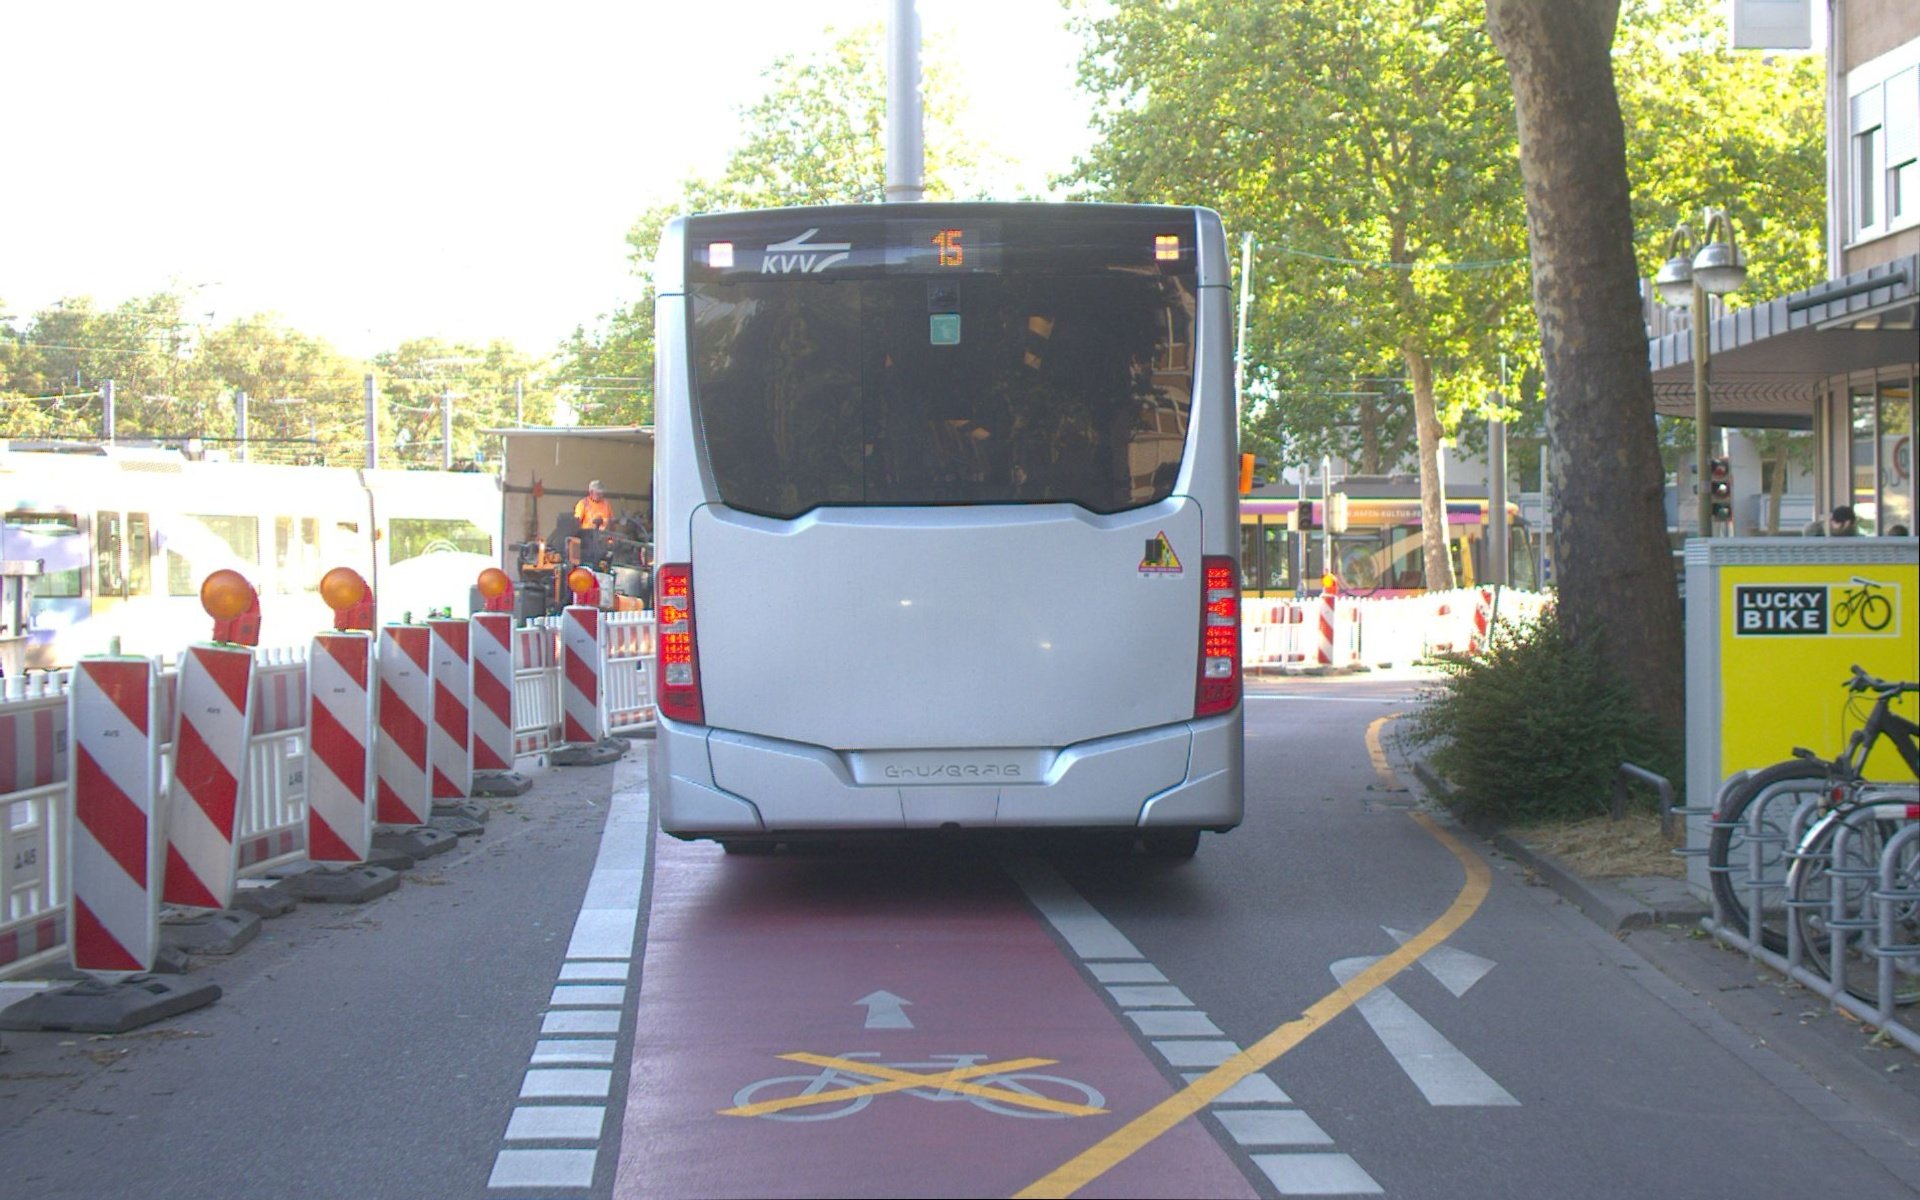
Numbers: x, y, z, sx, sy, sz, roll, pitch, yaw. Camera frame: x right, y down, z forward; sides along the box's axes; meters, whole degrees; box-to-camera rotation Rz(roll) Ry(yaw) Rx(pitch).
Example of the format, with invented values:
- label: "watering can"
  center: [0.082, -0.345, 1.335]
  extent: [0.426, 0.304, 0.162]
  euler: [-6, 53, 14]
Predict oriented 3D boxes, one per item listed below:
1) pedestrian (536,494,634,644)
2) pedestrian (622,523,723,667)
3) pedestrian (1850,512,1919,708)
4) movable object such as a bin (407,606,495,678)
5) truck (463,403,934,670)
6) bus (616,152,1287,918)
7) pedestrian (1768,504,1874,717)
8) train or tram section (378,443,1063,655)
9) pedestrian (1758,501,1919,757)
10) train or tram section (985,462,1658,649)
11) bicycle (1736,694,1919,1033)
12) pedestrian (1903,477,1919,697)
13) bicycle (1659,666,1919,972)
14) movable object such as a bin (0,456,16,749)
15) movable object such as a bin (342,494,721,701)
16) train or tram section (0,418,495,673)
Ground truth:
- label: "pedestrian"
  center: [-5.093, -0.428, 46.780]
  extent: [0.937, 2.006, 1.000]
  euler: [0, 2, 23]
- label: "pedestrian"
  center: [-3.642, -0.069, 43.569]
  extent: [0.973, 1.792, 1.069]
  euler: [0, 1, 15]
- label: "pedestrian"
  center: [7.804, 0.069, 28.341]
  extent: [0.632, 1.568, 0.774]
  euler: [-3, 1, -2]
- label: "movable object such as a bin"
  center: [-6.635, 0.536, 44.862]
  extent: [0.932, 0.914, 1.420]
  euler: [0, 0, 0]
- label: "truck"
  center: [-3.576, -0.887, 50.143]
  extent: [2.816, 3.529, 8.971]
  euler: [0, 1, 25]
- label: "bus"
  center: [-0.025, -0.338, 19.479]
  extent: [2.733, 3.128, 10.703]
  euler: [0, 1, 0]
- label: "pedestrian"
  center: [7.075, 0.080, 28.263]
  extent: [0.583, 1.702, 0.679]
  euler: [-3, 1, -2]
- label: "train or tram section"
  center: [-4.081, -0.848, 62.096]
  extent: [12.744, 3.537, 2.737]
  euler: [0, 0, -35]
- label: "pedestrian"
  center: [6.224, 0.188, 24.052]
  extent: [0.899, 1.704, 1.071]
  euler: [-4, 1, -2]
- label: "train or tram section"
  center: [7.194, -0.828, 67.678]
  extent: [13.285, 3.507, 2.650]
  euler: [0, 0, -19]
- label: "bicycle"
  center: [3.531, 0.848, 11.458]
  extent: [1.713, 1.054, 0.644]
  euler: [-2, 1, 0]
- label: "pedestrian"
  center: [7.505, 0.003, 24.955]
  extent: [0.837, 1.863, 1.100]
  euler: [-5, 1, -2]
- label: "bicycle"
  center: [3.714, 0.785, 12.867]
  extent: [1.986, 1.054, 0.771]
  euler: [-2, 0, -5]
- label: "movable object such as a bin"
  center: [-8.680, 0.037, 25.493]
  extent: [2.642, 2.310, 4.903]
  euler: [0, 1, -8]
- label: "movable object such as a bin"
  center: [-4.964, -0.067, 40.656]
  extent: [1.996, 2.249, 5.201]
  euler: [2, 1, 24]
- label: "train or tram section"
  center: [-12.141, -0.750, 52.870]
  extent: [2.854, 3.521, 13.376]
  euler: [0, 0, 27]
